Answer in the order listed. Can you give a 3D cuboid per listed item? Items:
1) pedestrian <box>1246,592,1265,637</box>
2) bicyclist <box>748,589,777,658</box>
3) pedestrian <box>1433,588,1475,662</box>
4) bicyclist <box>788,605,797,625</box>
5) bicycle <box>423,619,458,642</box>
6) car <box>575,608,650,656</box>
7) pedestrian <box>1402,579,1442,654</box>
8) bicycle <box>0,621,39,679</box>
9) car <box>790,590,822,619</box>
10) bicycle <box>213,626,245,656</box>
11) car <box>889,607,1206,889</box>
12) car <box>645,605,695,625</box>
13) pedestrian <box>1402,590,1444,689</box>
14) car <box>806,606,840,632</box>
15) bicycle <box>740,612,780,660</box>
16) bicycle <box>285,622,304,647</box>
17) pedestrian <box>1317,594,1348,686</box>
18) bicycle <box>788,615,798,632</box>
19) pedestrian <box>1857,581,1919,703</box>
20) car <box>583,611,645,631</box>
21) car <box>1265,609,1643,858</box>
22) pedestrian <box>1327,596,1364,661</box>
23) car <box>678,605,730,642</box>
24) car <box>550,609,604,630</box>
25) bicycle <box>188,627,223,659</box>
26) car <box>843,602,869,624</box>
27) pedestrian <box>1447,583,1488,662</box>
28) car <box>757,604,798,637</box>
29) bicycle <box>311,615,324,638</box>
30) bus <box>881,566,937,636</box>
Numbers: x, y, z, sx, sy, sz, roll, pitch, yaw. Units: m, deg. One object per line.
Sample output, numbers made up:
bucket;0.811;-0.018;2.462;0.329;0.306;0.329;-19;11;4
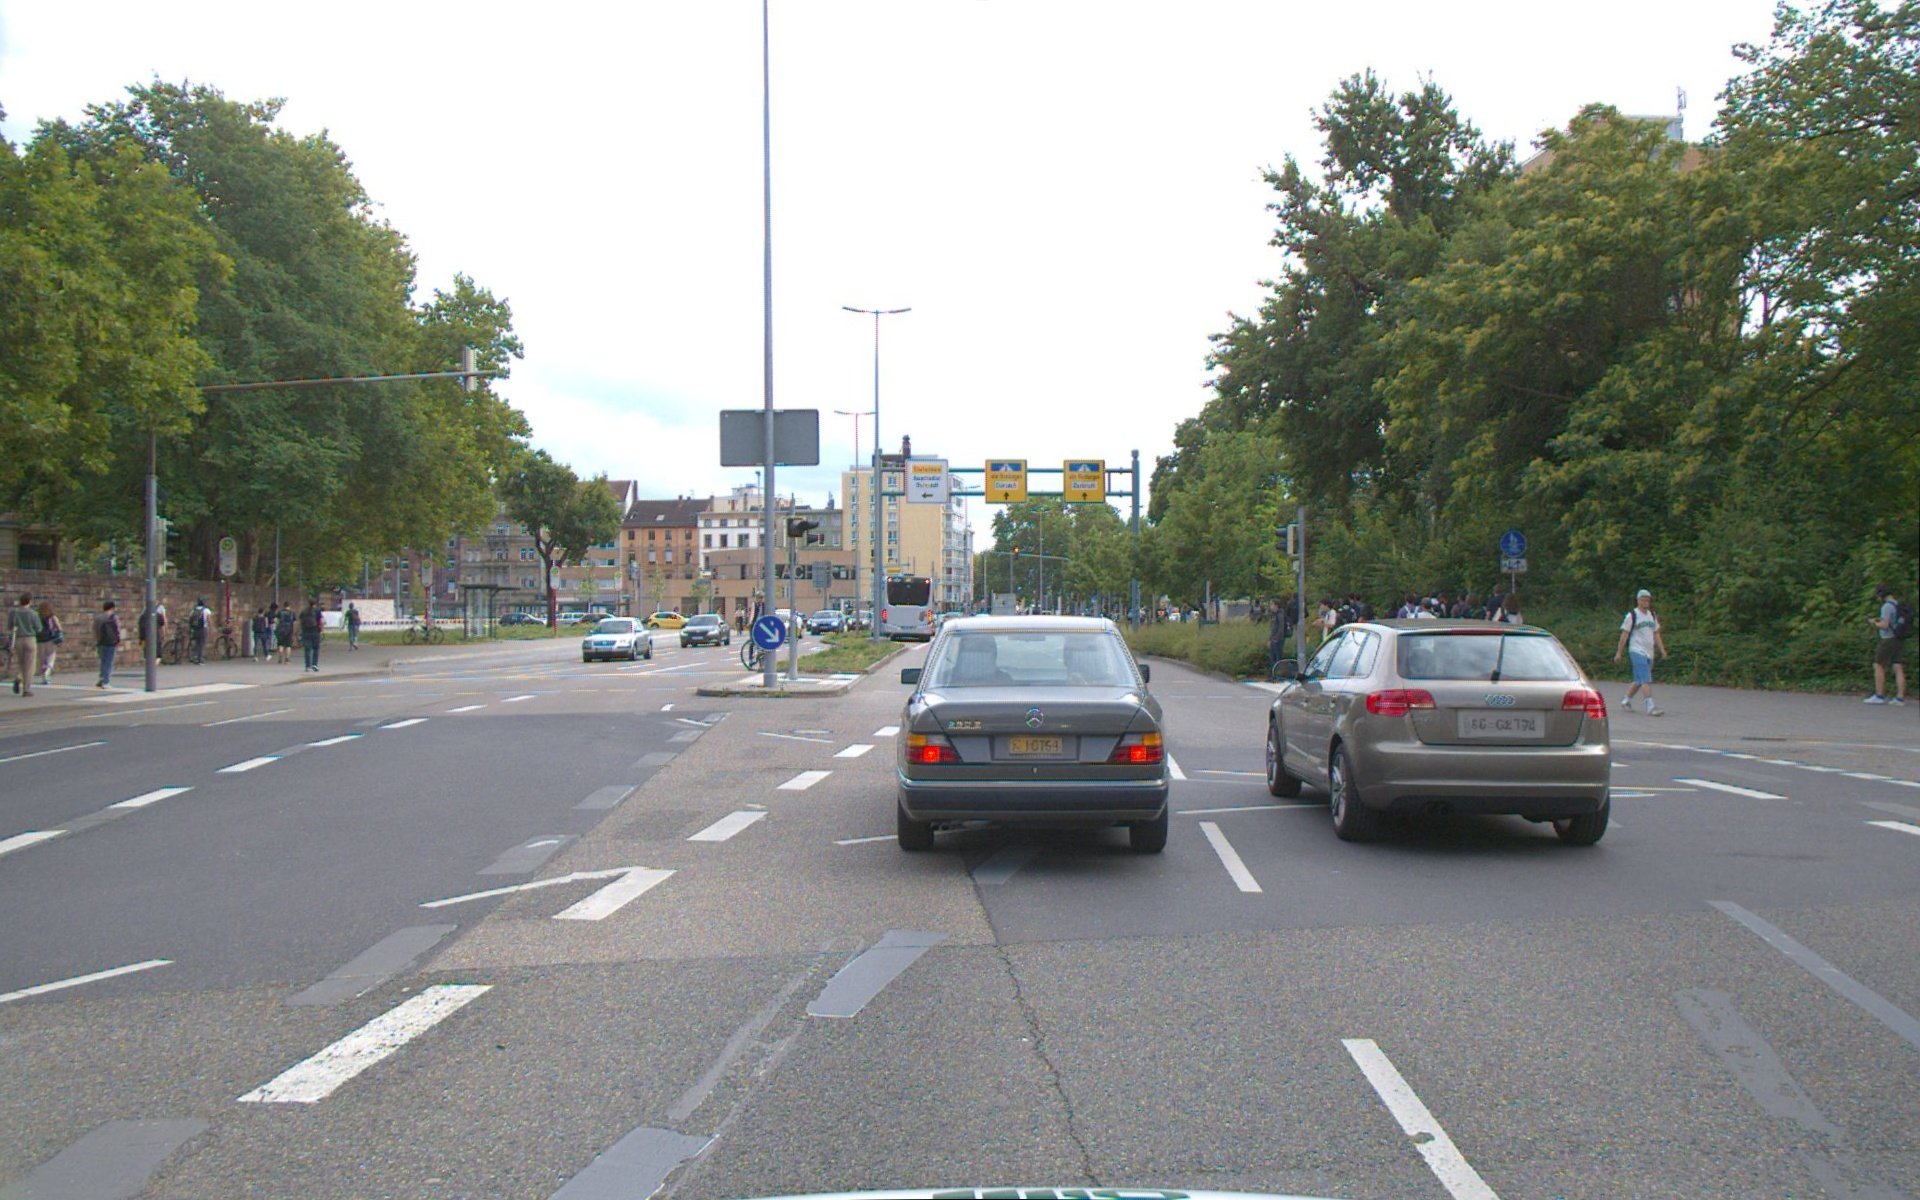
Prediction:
pedestrian;11.288;0.563;63.182;0.575;1.712;0.748;-1;0;0
bicyclist;-4.580;0.539;38.369;0.560;1.601;0.699;0;0;4
pedestrian;11.493;0.575;38.468;0.643;1.696;0.971;-1;0;-2
bicyclist;-11.745;1.048;116.023;0.568;1.444;0.810;0;0;-4
bicycle;-21.880;1.280;69.723;0.460;0.935;2.341;0;0;8
car;-11.654;1.053;55.703;1.726;1.515;4.543;0;0;-2
pedestrian;10.748;0.374;38.492;0.643;1.719;0.841;-1;0;-2
bicycle;-19.112;0.991;32.987;0.538;1.077;1.978;3;0;-6
car;-10.958;0.312;117.786;1.902;2.049;3.999;0;0;-1
bicycle;-21.594;1.212;48.850;0.432;0.811;1.617;2;1;-9
car;0.459;0.815;11.124;1.725;1.515;4.170;0;0;-1
car;-23.109;1.203;131.989;3.781;1.544;1.659;1;0;-5
pedestrian;8.106;0.684;28.961;0.534;1.716;0.636;0;-1;-2
car;-8.350;1.145;101.223;1.765;1.538;4.103;0;0;-1
bicycle;-4.638;0.818;38.443;0.561;1.074;1.927;0;0;4
bicycle;-23.730;1.224;58.997;0.434;0.842;1.613;2;-1;-17
pedestrian;7.260;0.778;32.257;0.445;1.765;0.636;0;-1;-2
bicycle;-11.729;1.624;116.057;0.570;1.191;1.963;0;0;-3
pedestrian;14.287;0.634;25.360;0.632;1.827;0.740;0;-1;-2
car;-27.490;1.678;131.559;4.578;1.501;1.659;1;0;-5
car;3.335;0.820;11.888;1.688;1.483;3.736;0;0;2
pedestrian;9.919;0.726;42.600;0.759;1.630;0.812;-1;0;0
car;-11.920;1.075;77.281;1.859;1.644;4.742;0;0;-2
car;-31.351;1.576;135.417;4.074;1.678;1.645;-1;0;-6
bicycle;-21.254;1.209;46.614;0.432;0.811;1.617;2;1;-9
car;-7.530;0.938;119.930;1.539;1.515;3.637;-2;0;1
pedestrian;11.293;0.502;36.824;0.643;1.729;0.780;-1;0;-2
car;-8.733;0.958;79.372;1.766;1.515;4.285;0;0;-4
bicycle;-26.037;1.074;67.066;0.341;0.893;1.515;2;-1;-17
bus;-2.629;0.062;85.860;2.774;3.450;8.180;0;0;-2
